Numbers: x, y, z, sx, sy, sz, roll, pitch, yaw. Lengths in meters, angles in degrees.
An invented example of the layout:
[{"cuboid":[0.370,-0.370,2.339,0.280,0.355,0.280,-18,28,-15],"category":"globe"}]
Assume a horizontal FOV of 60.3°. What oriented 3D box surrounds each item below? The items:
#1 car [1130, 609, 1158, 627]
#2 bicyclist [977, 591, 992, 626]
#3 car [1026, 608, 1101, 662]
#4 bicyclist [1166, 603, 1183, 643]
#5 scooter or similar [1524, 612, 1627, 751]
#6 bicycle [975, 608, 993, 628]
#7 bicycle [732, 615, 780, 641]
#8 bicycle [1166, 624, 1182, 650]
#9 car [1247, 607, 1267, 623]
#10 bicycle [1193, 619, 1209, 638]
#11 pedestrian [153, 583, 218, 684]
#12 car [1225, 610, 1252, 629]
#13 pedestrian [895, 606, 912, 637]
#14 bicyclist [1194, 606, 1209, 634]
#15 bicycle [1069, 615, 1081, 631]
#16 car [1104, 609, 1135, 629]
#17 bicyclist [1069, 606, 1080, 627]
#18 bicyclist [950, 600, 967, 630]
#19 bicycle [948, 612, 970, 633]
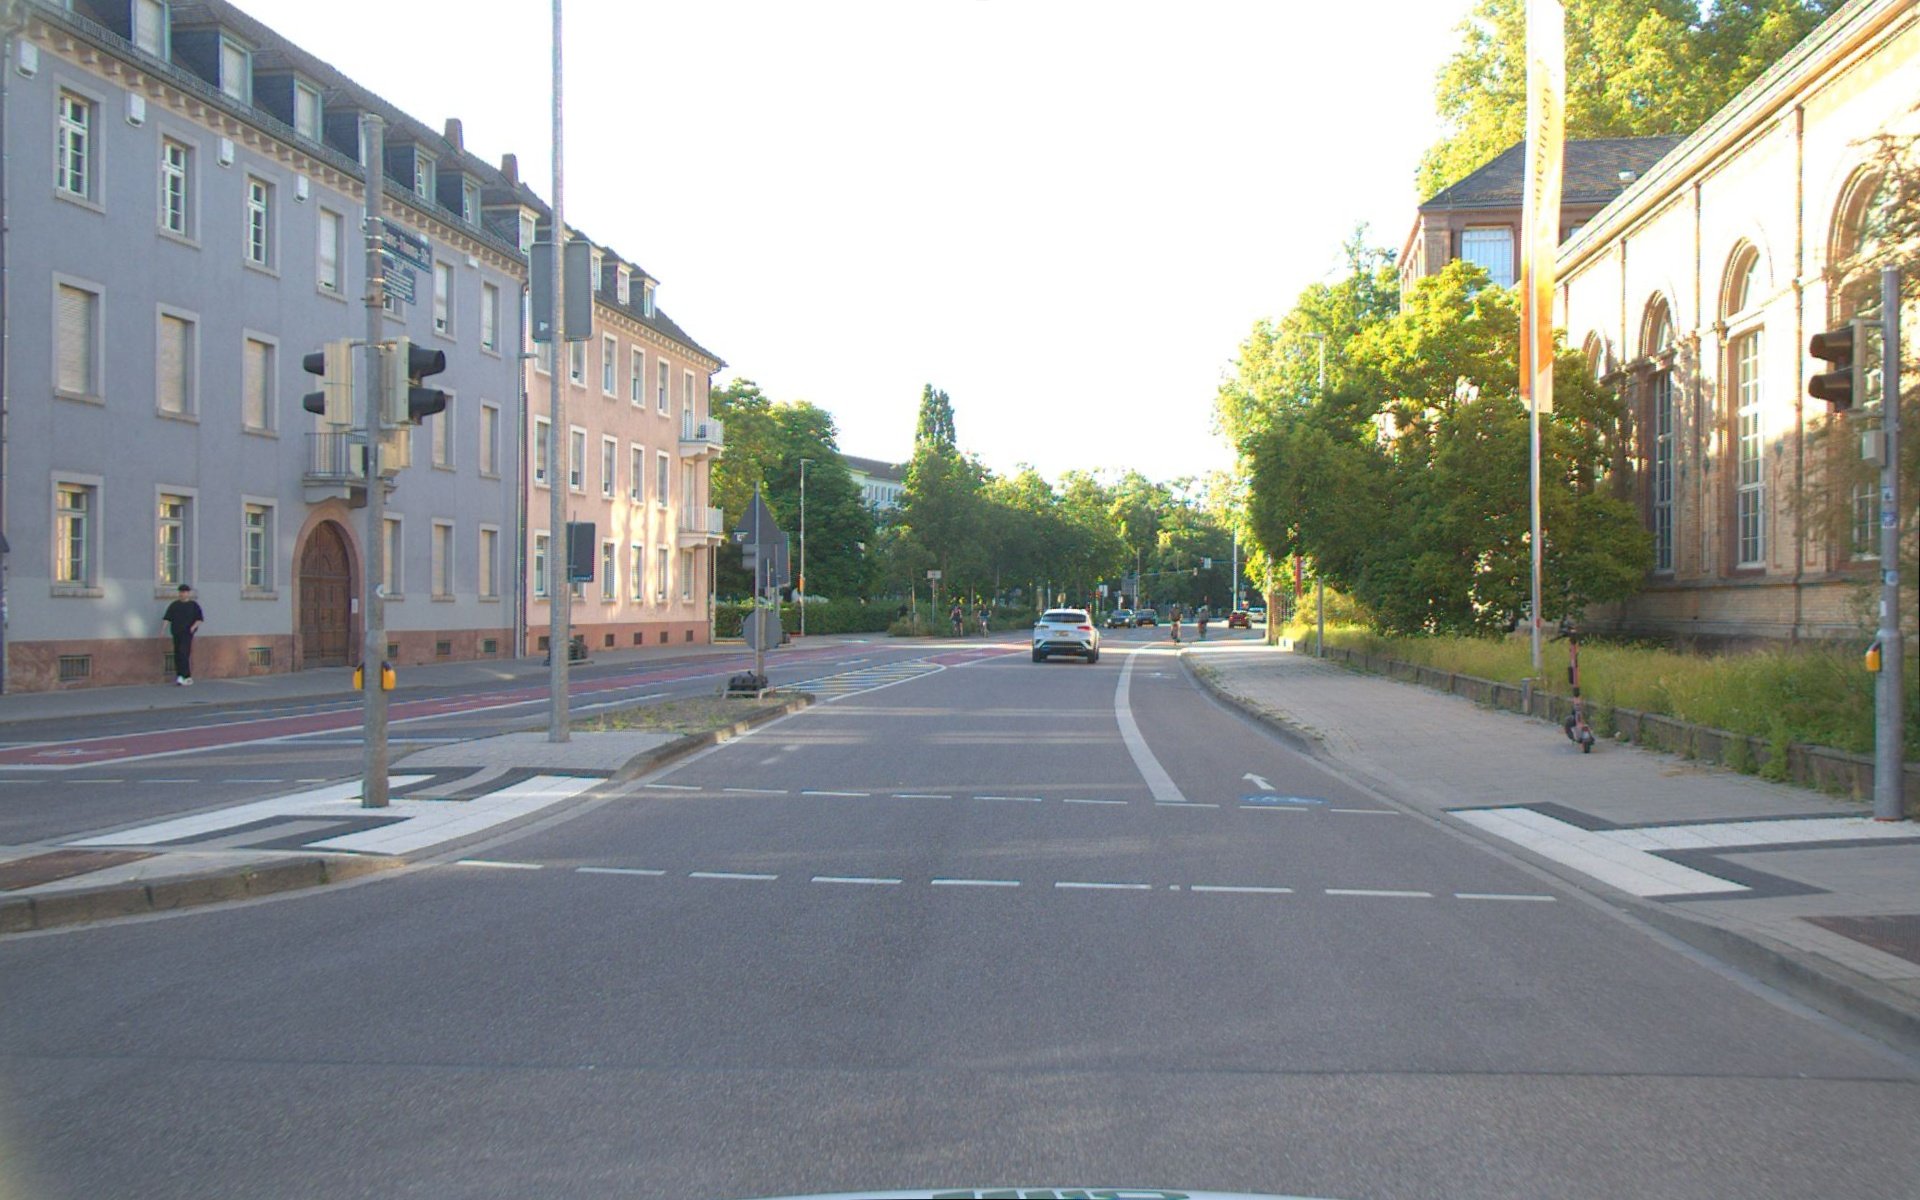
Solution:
[{"cuboid":[15.948,1.539,143.247,1.721,1.484,4.003,-1,0,16],"category":"car"},{"cuboid":[1.275,0.446,85.555,0.622,1.740,0.739,-3,-1,9],"category":"bicyclist"},{"cuboid":[3.035,0.988,47.825,1.951,1.478,4.003,-1,0,6],"category":"car"},{"cuboid":[9.003,0.954,69.402,0.622,1.642,1.285,1,0,9],"category":"bicyclist"},{"cuboid":[6.282,0.797,16.958,0.543,1.331,1.833,0,0,6],"category":"scooter or similar"},{"cuboid":[1.257,0.917,85.449,0.632,1.013,2.111,-2,0,9],"category":"bicycle"},{"cuboid":[-10.022,1.367,81.087,2.270,1.251,0.560,-1,0,13],"category":"bicycle"},{"cuboid":[8.968,1.547,69.239,0.629,1.042,2.214,1,0,9],"category":"bicycle"},{"cuboid":[30.076,1.492,167.437,1.700,1.573,4.003,0,0,15],"category":"car"},{"cuboid":[13.537,1.578,92.868,0.737,1.044,1.871,1,-1,14],"category":"bicycle"},{"cuboid":[-14.839,0.628,31.712,0.618,1.878,1.014,2,0,6],"category":"pedestrian"},{"cuboid":[23.346,1.605,138.417,1.888,1.560,4.003,-1,0,14],"category":"car"},{"cuboid":[-3.467,1.301,101.525,0.837,1.884,1.002,-1,-1,13],"category":"pedestrian"},{"cuboid":[13.542,1.131,92.899,0.731,1.564,0.970,0,0,14],"category":"bicyclist"},{"cuboid":[8.991,1.806,129.481,0.584,1.140,2.029,-4,-1,12],"category":"bicycle"},{"cuboid":[12.100,1.413,125.216,1.773,1.444,4.558,-1,0,13],"category":"car"},{"cuboid":[8.970,1.281,129.522,0.616,1.549,0.725,-3,-1,12],"category":"bicyclist"},{"cuboid":[-0.058,0.785,86.179,0.722,1.511,0.665,-2,-1,12],"category":"bicyclist"},{"cuboid":[-0.048,1.189,86.151,0.721,1.013,2.111,-1,1,11],"category":"bicycle"}]
